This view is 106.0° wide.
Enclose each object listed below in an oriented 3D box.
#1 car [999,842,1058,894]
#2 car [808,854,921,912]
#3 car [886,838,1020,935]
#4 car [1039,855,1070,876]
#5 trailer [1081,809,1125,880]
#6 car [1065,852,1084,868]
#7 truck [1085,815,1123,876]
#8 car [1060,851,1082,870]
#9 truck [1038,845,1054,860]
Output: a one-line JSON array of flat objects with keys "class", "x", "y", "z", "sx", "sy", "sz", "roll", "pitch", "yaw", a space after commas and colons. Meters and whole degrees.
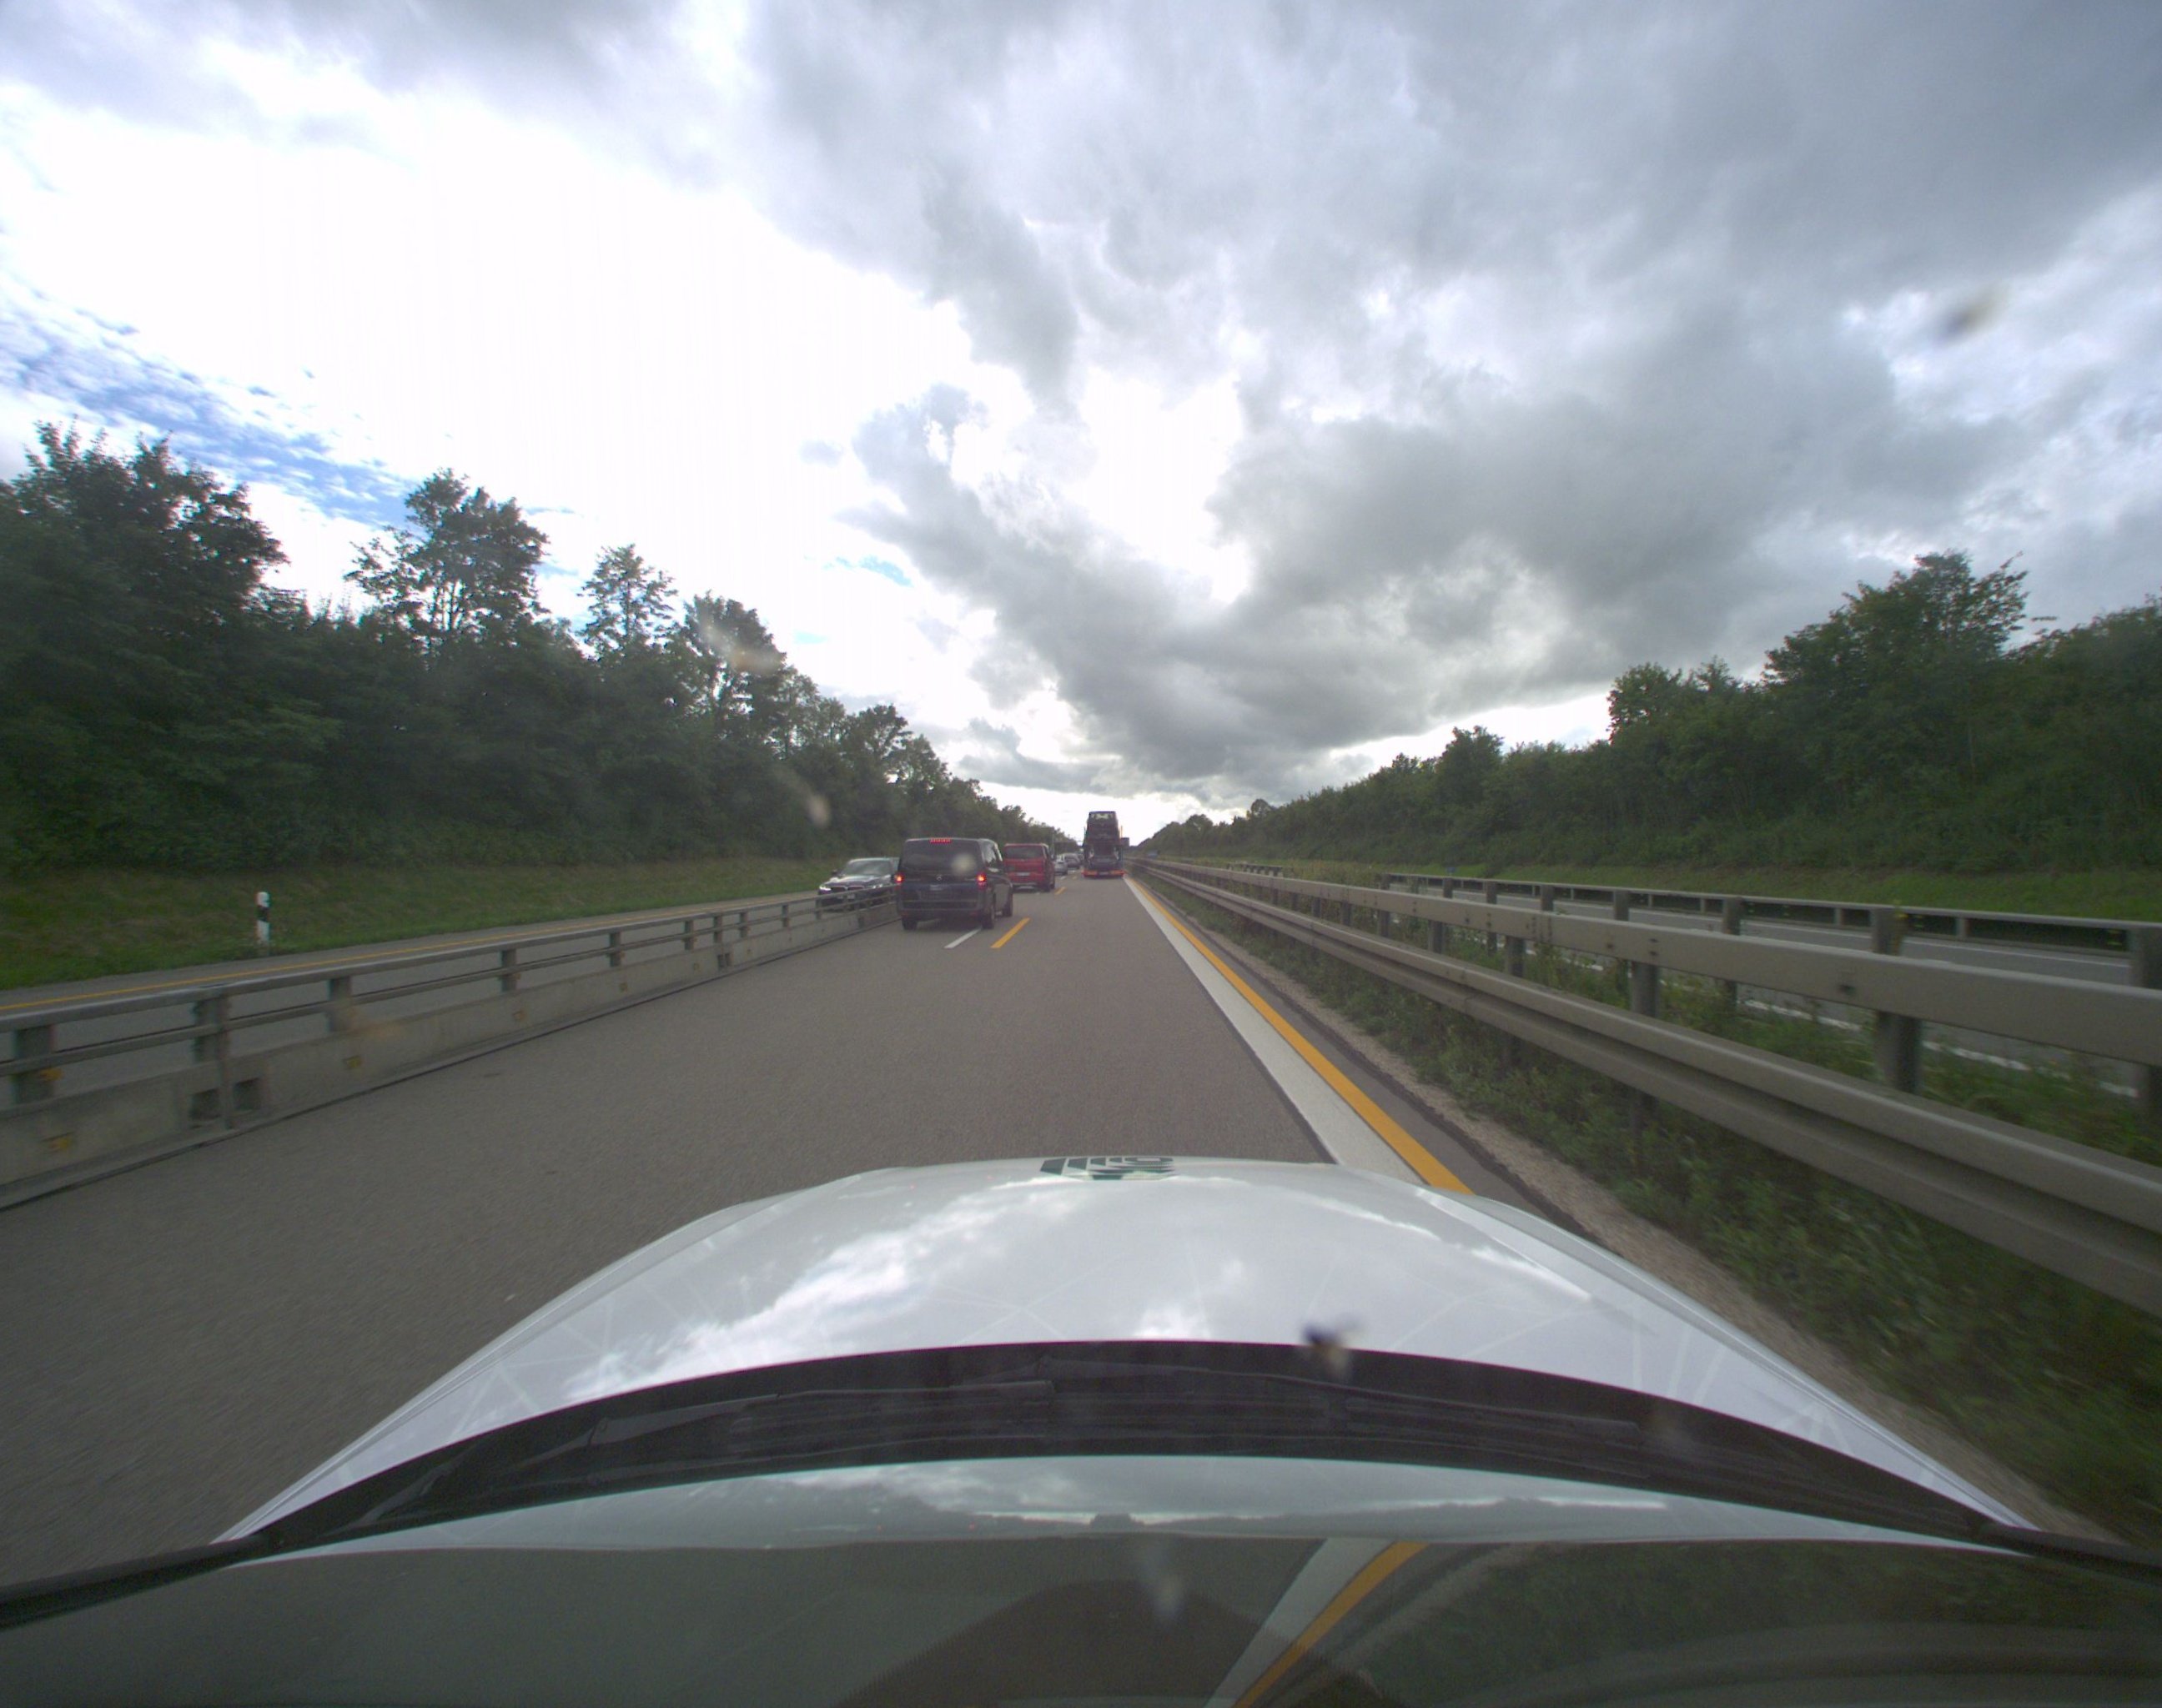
[{"class": "car", "x": -2.128, "y": 0.539, "z": 34.104, "sx": 2.023, "sy": 2.013, "sz": 4.579, "roll": -1, "pitch": 0, "yaw": 1}, {"class": "car", "x": -6.242, "y": 0.780, "z": 24.097, "sx": 1.992, "sy": 1.499, "sz": 4.900, "roll": -1, "pitch": 0, "yaw": 0}, {"class": "car", "x": -2.695, "y": 0.626, "z": 18.581, "sx": 1.986, "sy": 1.843, "sz": 5.611, "roll": -1, "pitch": 0, "yaw": 1}, {"class": "car", "x": -1.885, "y": 0.798, "z": 59.168, "sx": 2.024, "sy": 1.430, "sz": 4.578, "roll": -1, "pitch": 0, "yaw": 1}, {"class": "trailer", "x": 1.479, "y": -0.564, "z": 53.057, "sx": 2.506, "sy": 4.105, "sz": 11.118, "roll": -1, "pitch": 0, "yaw": 2}, {"class": "car", "x": -0.734, "y": 0.703, "z": 93.682, "sx": 2.024, "sy": 1.757, "sz": 4.578, "roll": -1, "pitch": 0, "yaw": 0}, {"class": "truck", "x": 1.651, "y": -0.553, "z": 57.758, "sx": 2.506, "sy": 4.105, "sz": 5.688, "roll": -1, "pitch": 0, "yaw": 2}, {"class": "car", "x": -0.945, "y": 0.625, "z": 80.239, "sx": 2.024, "sy": 1.757, "sz": 4.578, "roll": -1, "pitch": 0, "yaw": 1}, {"class": "truck", "x": -6.591, "y": -0.286, "z": 153.004, "sx": 2.480, "sy": 2.718, "sz": 6.670, "roll": -1, "pitch": 0, "yaw": 2}]
